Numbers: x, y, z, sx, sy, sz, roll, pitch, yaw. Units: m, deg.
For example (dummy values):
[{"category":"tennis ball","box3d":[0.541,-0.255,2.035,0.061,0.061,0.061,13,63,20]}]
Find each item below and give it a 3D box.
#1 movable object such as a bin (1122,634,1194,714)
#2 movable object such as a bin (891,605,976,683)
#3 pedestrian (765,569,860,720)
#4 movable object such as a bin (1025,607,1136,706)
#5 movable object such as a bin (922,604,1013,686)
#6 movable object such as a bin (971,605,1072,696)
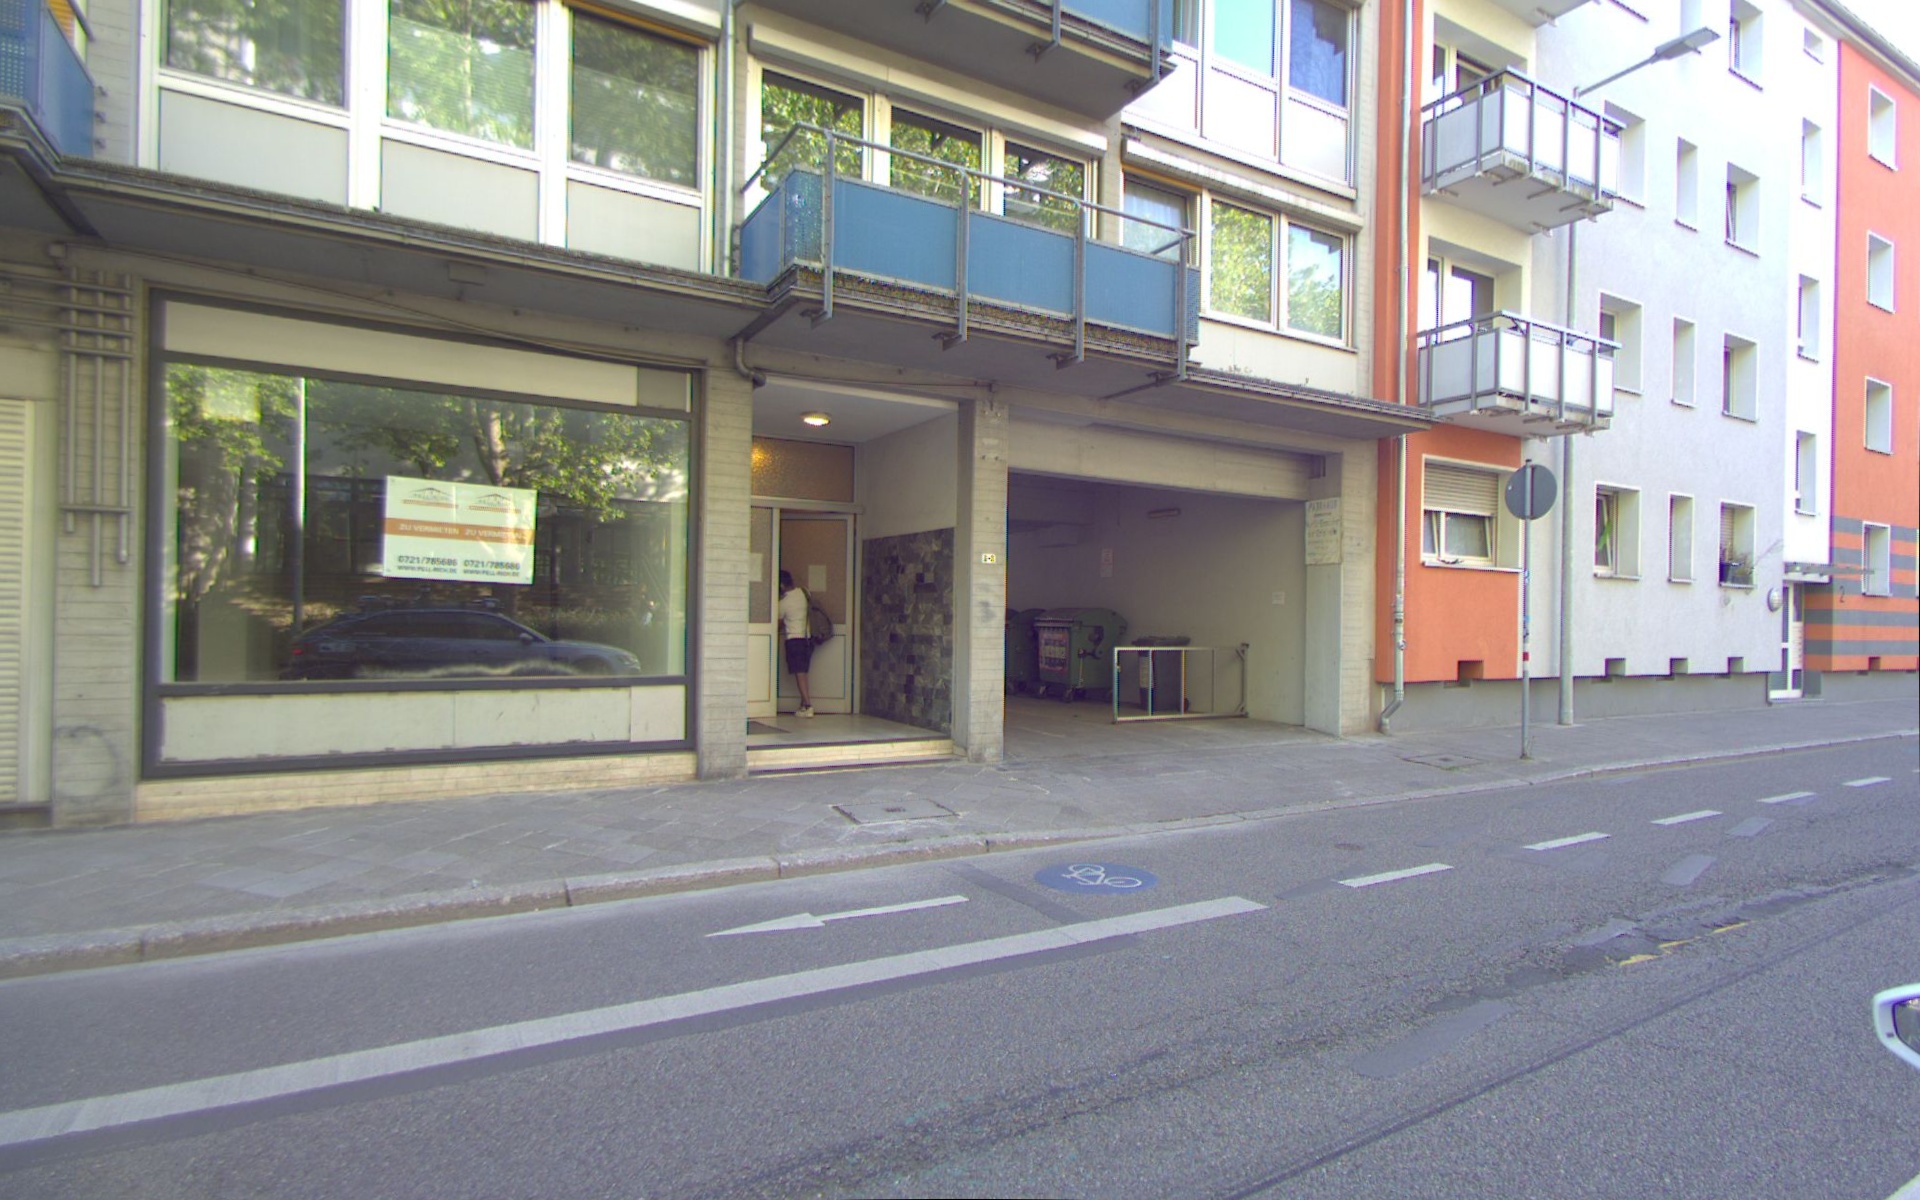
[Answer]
[{"category":"movable object such as a bin","box3d":[2.859,1.055,14.527,0.707,1.089,0.735,2,0,-30]},{"category":"movable object such as a bin","box3d":[-0.540,0.852,19.935,1.182,1.452,1.300,2,0,-30]},{"category":"pedestrian","box3d":[-1.649,0.476,11.191,0.911,1.606,0.563,1,0,39]},{"category":"movable object such as a bin","box3d":[1.881,0.861,15.810,1.182,1.452,1.300,2,0,-30]},{"category":"movable object such as a bin","box3d":[0.128,0.822,18.771,1.182,1.452,1.300,2,0,-30]},{"category":"movable object such as a bin","box3d":[1.041,0.842,17.197,1.182,1.452,1.300,2,0,-30]}]
